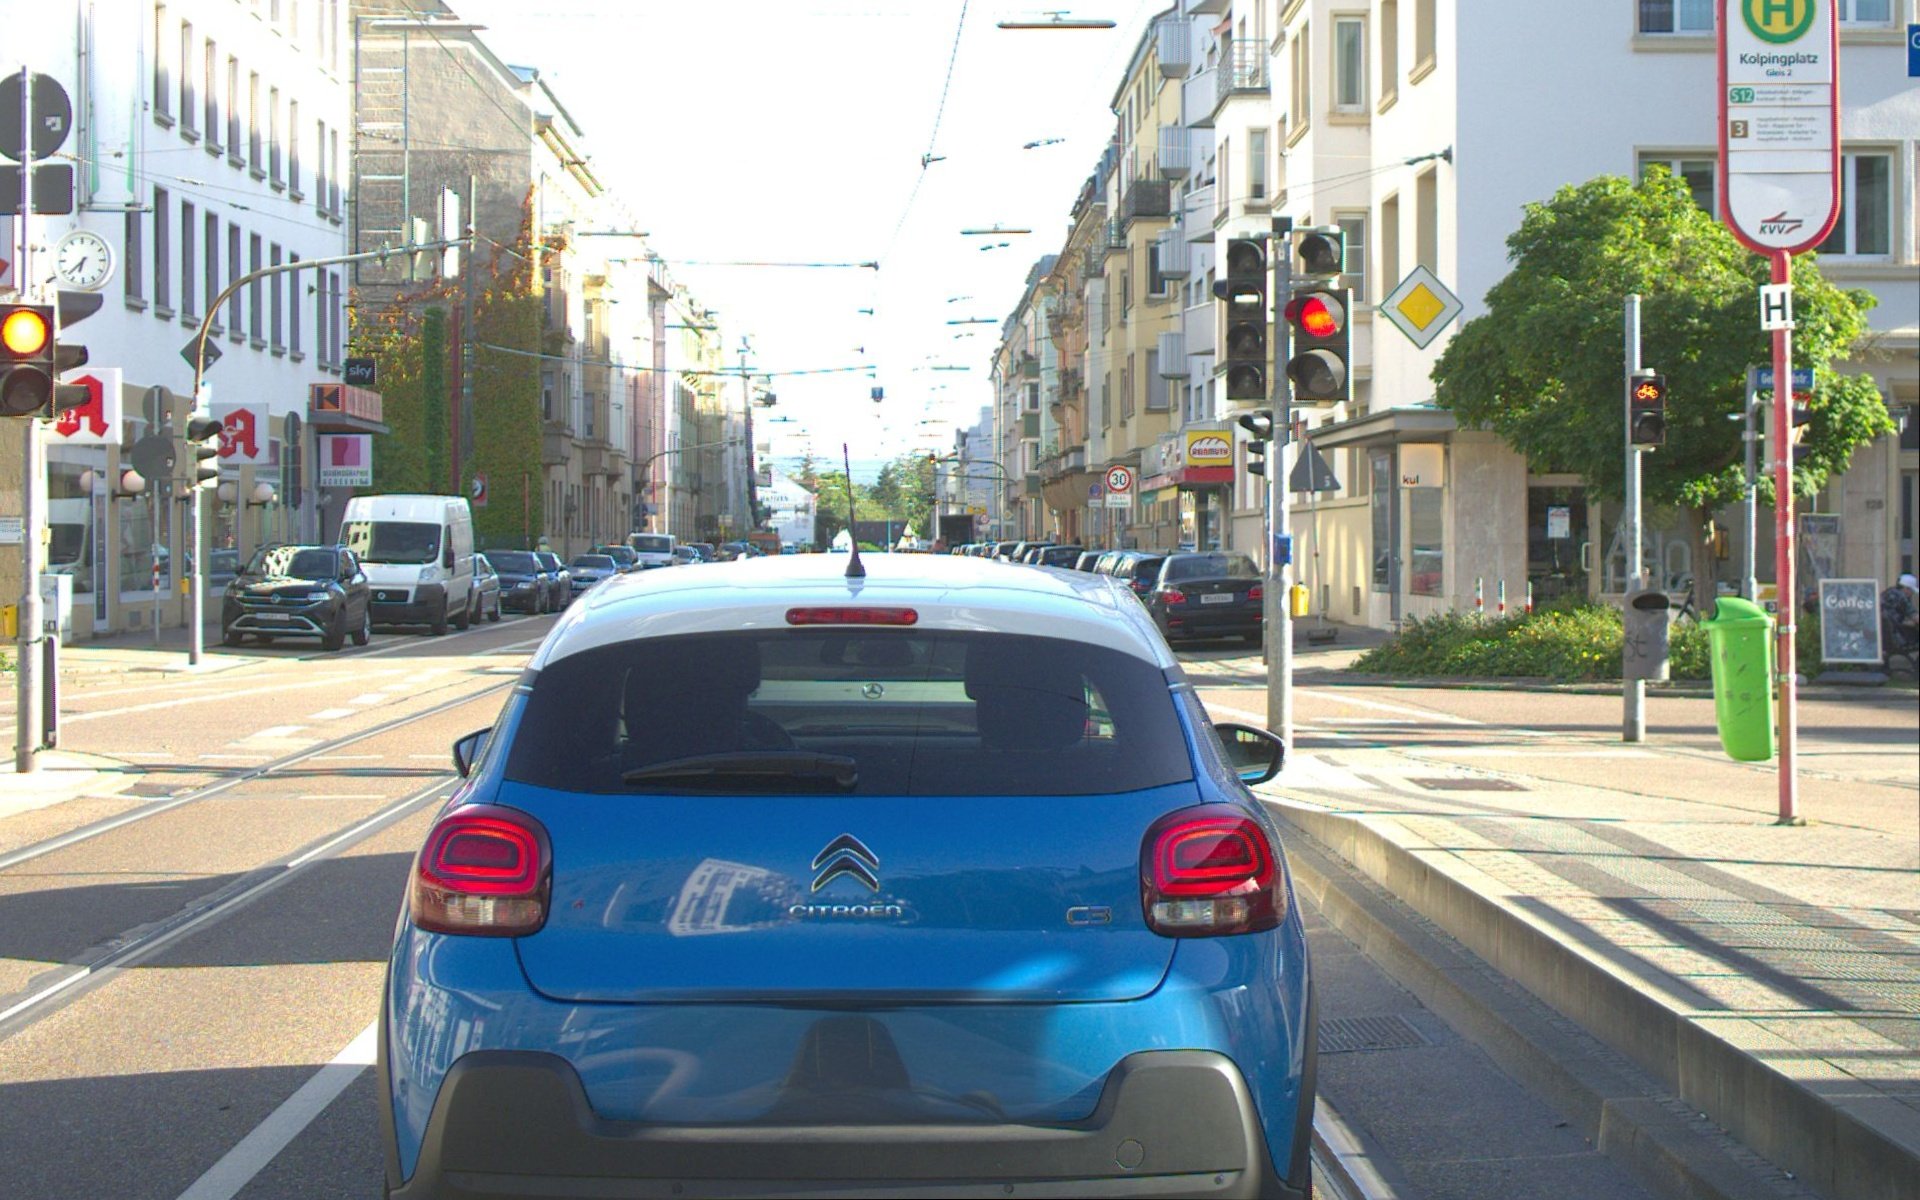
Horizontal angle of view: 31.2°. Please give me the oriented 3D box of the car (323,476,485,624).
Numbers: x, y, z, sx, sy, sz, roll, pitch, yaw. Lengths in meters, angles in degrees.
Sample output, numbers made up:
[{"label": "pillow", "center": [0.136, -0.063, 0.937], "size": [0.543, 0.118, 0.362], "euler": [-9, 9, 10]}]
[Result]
[{"label": "car", "center": [-10.085, -0.917, 62.776], "size": [2.085, 2.533, 6.206], "euler": [1, 1, -2]}]

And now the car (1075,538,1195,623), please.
[{"label": "car", "center": [3.154, -0.369, 62.695], "size": [1.993, 1.496, 4.000], "euler": [0, 1, 0]}]

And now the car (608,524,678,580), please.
[{"label": "car", "center": [-11.658, -1.756, 126.720], "size": [2.006, 2.007, 4.689], "euler": [1, 0, 1]}]

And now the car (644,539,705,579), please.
[{"label": "car", "center": [-11.325, -1.634, 136.638], "size": [1.955, 1.547, 3.938], "euler": [1, 0, 2]}]

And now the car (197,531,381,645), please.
[{"label": "car", "center": [-10.174, -0.198, 52.423], "size": [1.993, 1.563, 4.403], "euler": [3, 0, -2]}]

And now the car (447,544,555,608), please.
[{"label": "car", "center": [-10.406, -0.551, 78.150], "size": [1.993, 1.393, 4.157], "euler": [1, 0, -2]}]

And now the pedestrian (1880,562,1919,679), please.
[{"label": "pedestrian", "center": [10.867, 0.228, 39.028], "size": [0.741, 1.311, 0.627], "euler": [0, 1, 23]}]

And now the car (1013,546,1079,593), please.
[{"label": "car", "center": [2.663, -0.961, 107.365], "size": [1.993, 1.459, 4.000], "euler": [0, 1, 1]}]

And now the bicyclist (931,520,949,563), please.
[{"label": "bicyclist", "center": [-0.952, -2.770, 161.977], "size": [0.809, 2.007, 0.922], "euler": [1, 0, 0]}]

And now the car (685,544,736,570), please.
[{"label": "car", "center": [-11.163, -1.933, 154.123], "size": [1.993, 1.152, 4.000], "euler": [0, 1, 0]}]

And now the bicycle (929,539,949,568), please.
[{"label": "bicycle", "center": [-0.987, -2.198, 162.381], "size": [0.920, 1.384, 3.132], "euler": [0, 1, 0]}]

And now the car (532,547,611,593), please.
[{"label": "car", "center": [-11.636, -0.912, 103.171], "size": [1.993, 1.320, 3.923], "euler": [1, 0, -2]}]

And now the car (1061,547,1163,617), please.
[{"label": "car", "center": [3.196, -0.404, 72.946], "size": [1.993, 1.459, 4.000], "euler": [0, 1, 0]}]

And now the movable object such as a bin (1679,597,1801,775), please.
[{"label": "movable object such as a bin", "center": [3.509, 0.381, 15.490], "size": [0.449, 0.783, 0.489], "euler": [0, 1, 2]}]

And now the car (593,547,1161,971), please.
[{"label": "car", "center": [-0.326, 0.528, 14.568], "size": [1.984, 1.459, 4.816], "euler": [1, 1, -1]}]

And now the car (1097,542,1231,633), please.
[{"label": "car", "center": [3.360, -0.233, 57.240], "size": [1.993, 1.459, 4.000], "euler": [0, 1, 0]}]

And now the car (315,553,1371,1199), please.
[{"label": "car", "center": [-0.223, 0.657, 7.593], "size": [1.728, 1.477, 3.827], "euler": [1, 1, -1]}]

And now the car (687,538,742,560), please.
[{"label": "car", "center": [-13.194, -2.757, 184.832], "size": [1.994, 1.152, 4.513], "euler": [0, 1, 9]}]

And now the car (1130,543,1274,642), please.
[{"label": "car", "center": [3.649, -0.138, 52.438], "size": [1.909, 1.459, 4.000], "euler": [0, 1, 0]}]

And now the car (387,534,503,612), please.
[{"label": "car", "center": [-10.375, -0.546, 69.447], "size": [1.888, 1.491, 3.562], "euler": [1, 0, -2]}]

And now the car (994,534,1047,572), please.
[{"label": "car", "center": [2.324, -1.836, 133.156], "size": [1.993, 1.459, 4.000], "euler": [0, 1, 0]}]

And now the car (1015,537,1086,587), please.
[{"label": "car", "center": [2.666, -1.134, 102.032], "size": [1.993, 1.459, 4.504], "euler": [0, 1, 0]}]

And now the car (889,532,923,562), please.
[{"label": "car", "center": [-3.187, -3.128, 202.733], "size": [1.993, 1.766, 4.000], "euler": [0, 1, -1]}]
